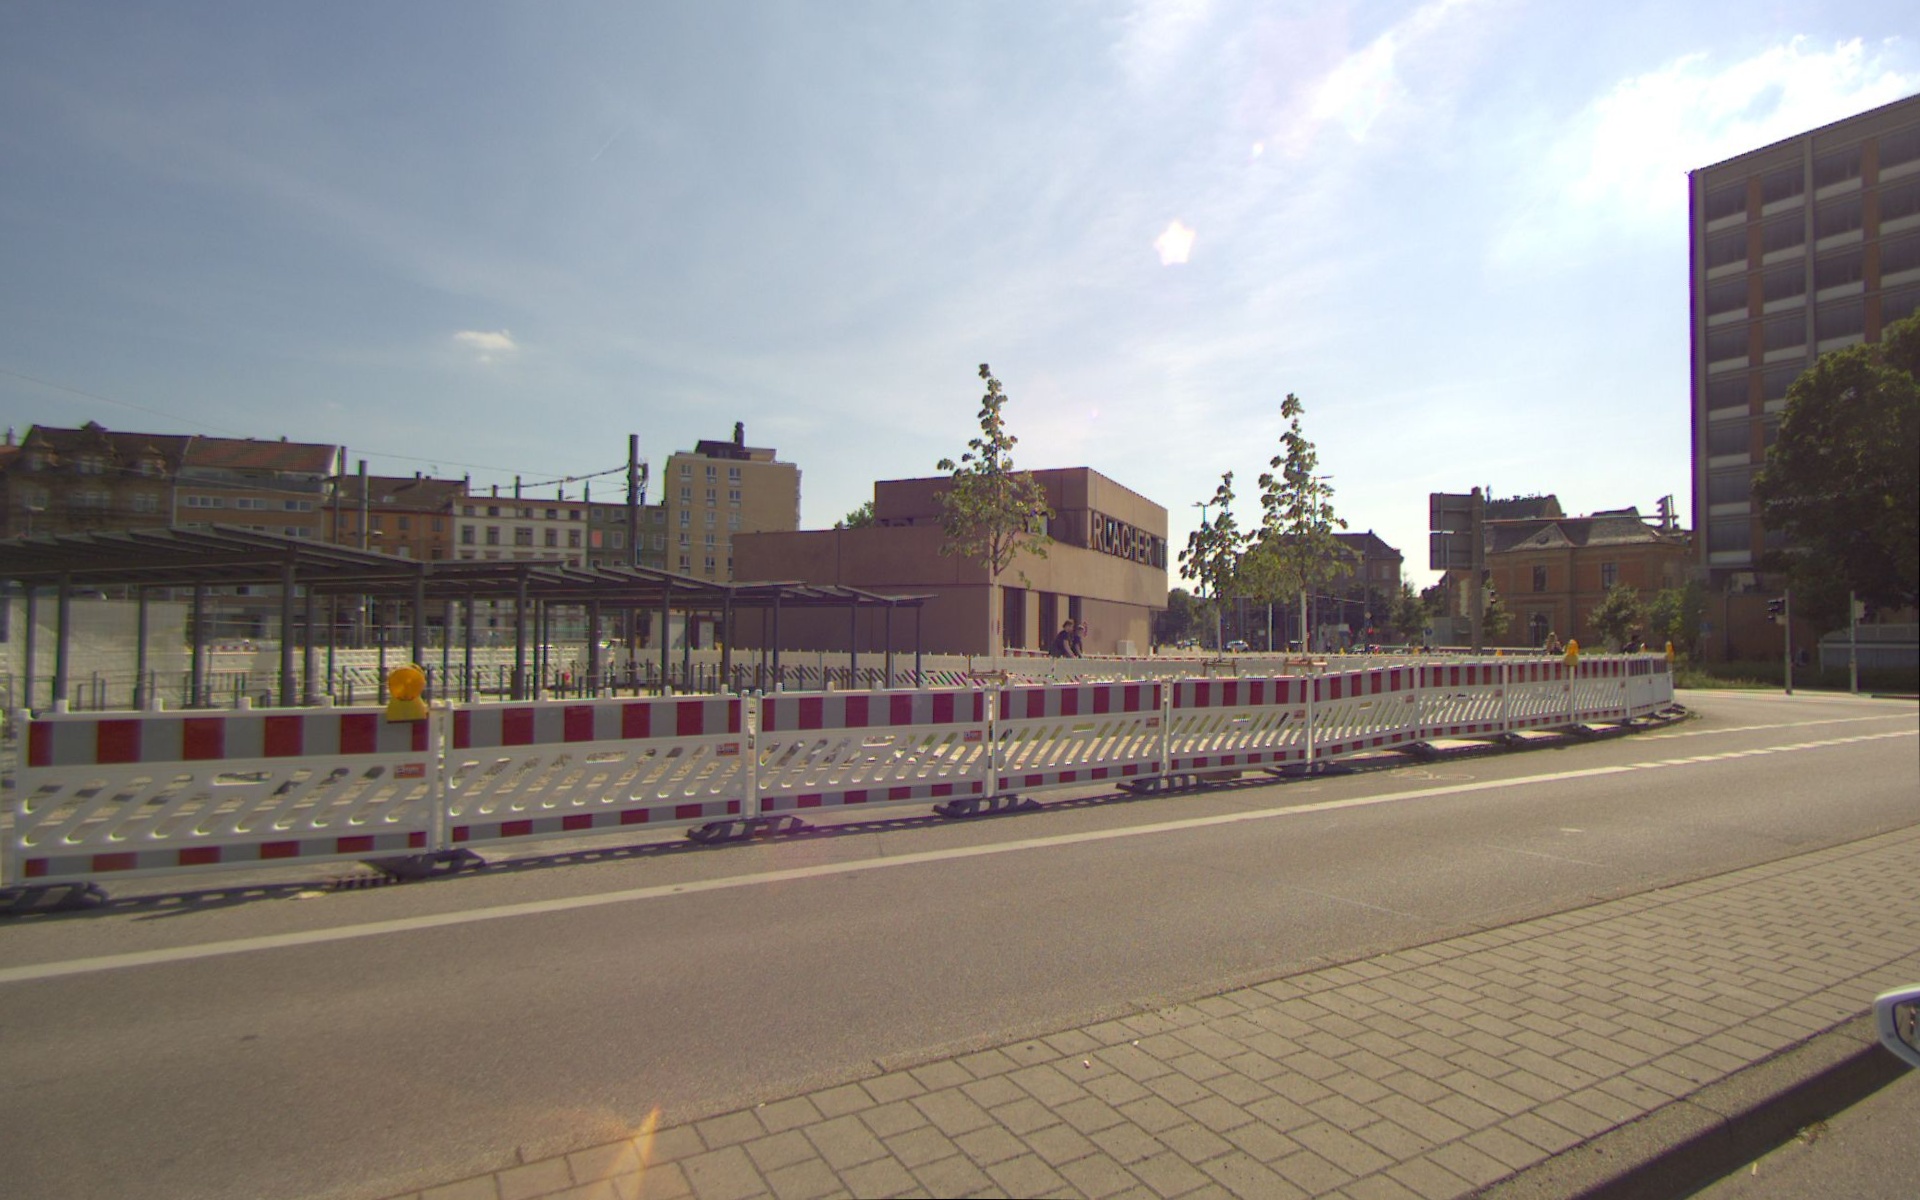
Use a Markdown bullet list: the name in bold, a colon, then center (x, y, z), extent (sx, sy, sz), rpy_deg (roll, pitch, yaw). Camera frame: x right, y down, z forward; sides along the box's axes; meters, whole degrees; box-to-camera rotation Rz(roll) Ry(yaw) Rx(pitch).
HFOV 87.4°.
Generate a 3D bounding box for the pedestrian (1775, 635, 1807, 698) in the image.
- **pedestrian**: center (27.660, 2.192, 33.427), extent (0.604, 2.040, 0.687), rpy_deg (2, -1, 23)

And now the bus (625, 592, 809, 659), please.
- **bus**: center (-13.203, 1.533, 56.543), extent (2.808, 3.324, 12.650), rpy_deg (-1, -2, 25)

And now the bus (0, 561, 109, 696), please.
- **bus**: center (-28.218, 0.634, 23.494), extent (2.808, 3.535, 12.650), rpy_deg (-1, -2, 25)

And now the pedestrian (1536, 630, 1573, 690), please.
- **pedestrian**: center (18.088, 1.832, 30.557), extent (0.728, 1.775, 1.104), rpy_deg (-2, -5, 44)

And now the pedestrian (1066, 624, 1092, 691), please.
- **pedestrian**: center (3.138, 1.518, 26.549), extent (0.559, 1.731, 0.539), rpy_deg (1, -2, -9)

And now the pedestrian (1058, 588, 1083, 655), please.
- **pedestrian**: center (2.993, 0.591, 27.204), extent (0.559, 1.801, 0.544), rpy_deg (1, -2, -9)

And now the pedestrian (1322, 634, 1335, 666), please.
- **pedestrian**: center (24.061, 3.255, 65.625), extent (0.514, 2.040, 0.626), rpy_deg (1, -2, -16)

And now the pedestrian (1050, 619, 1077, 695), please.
- **pedestrian**: center (2.667, 1.466, 25.952), extent (0.595, 1.940, 0.441), rpy_deg (1, -2, -9)

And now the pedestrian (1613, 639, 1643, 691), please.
- **pedestrian**: center (20.027, 1.940, 30.129), extent (0.624, 1.511, 0.613), rpy_deg (-2, -3, 44)
